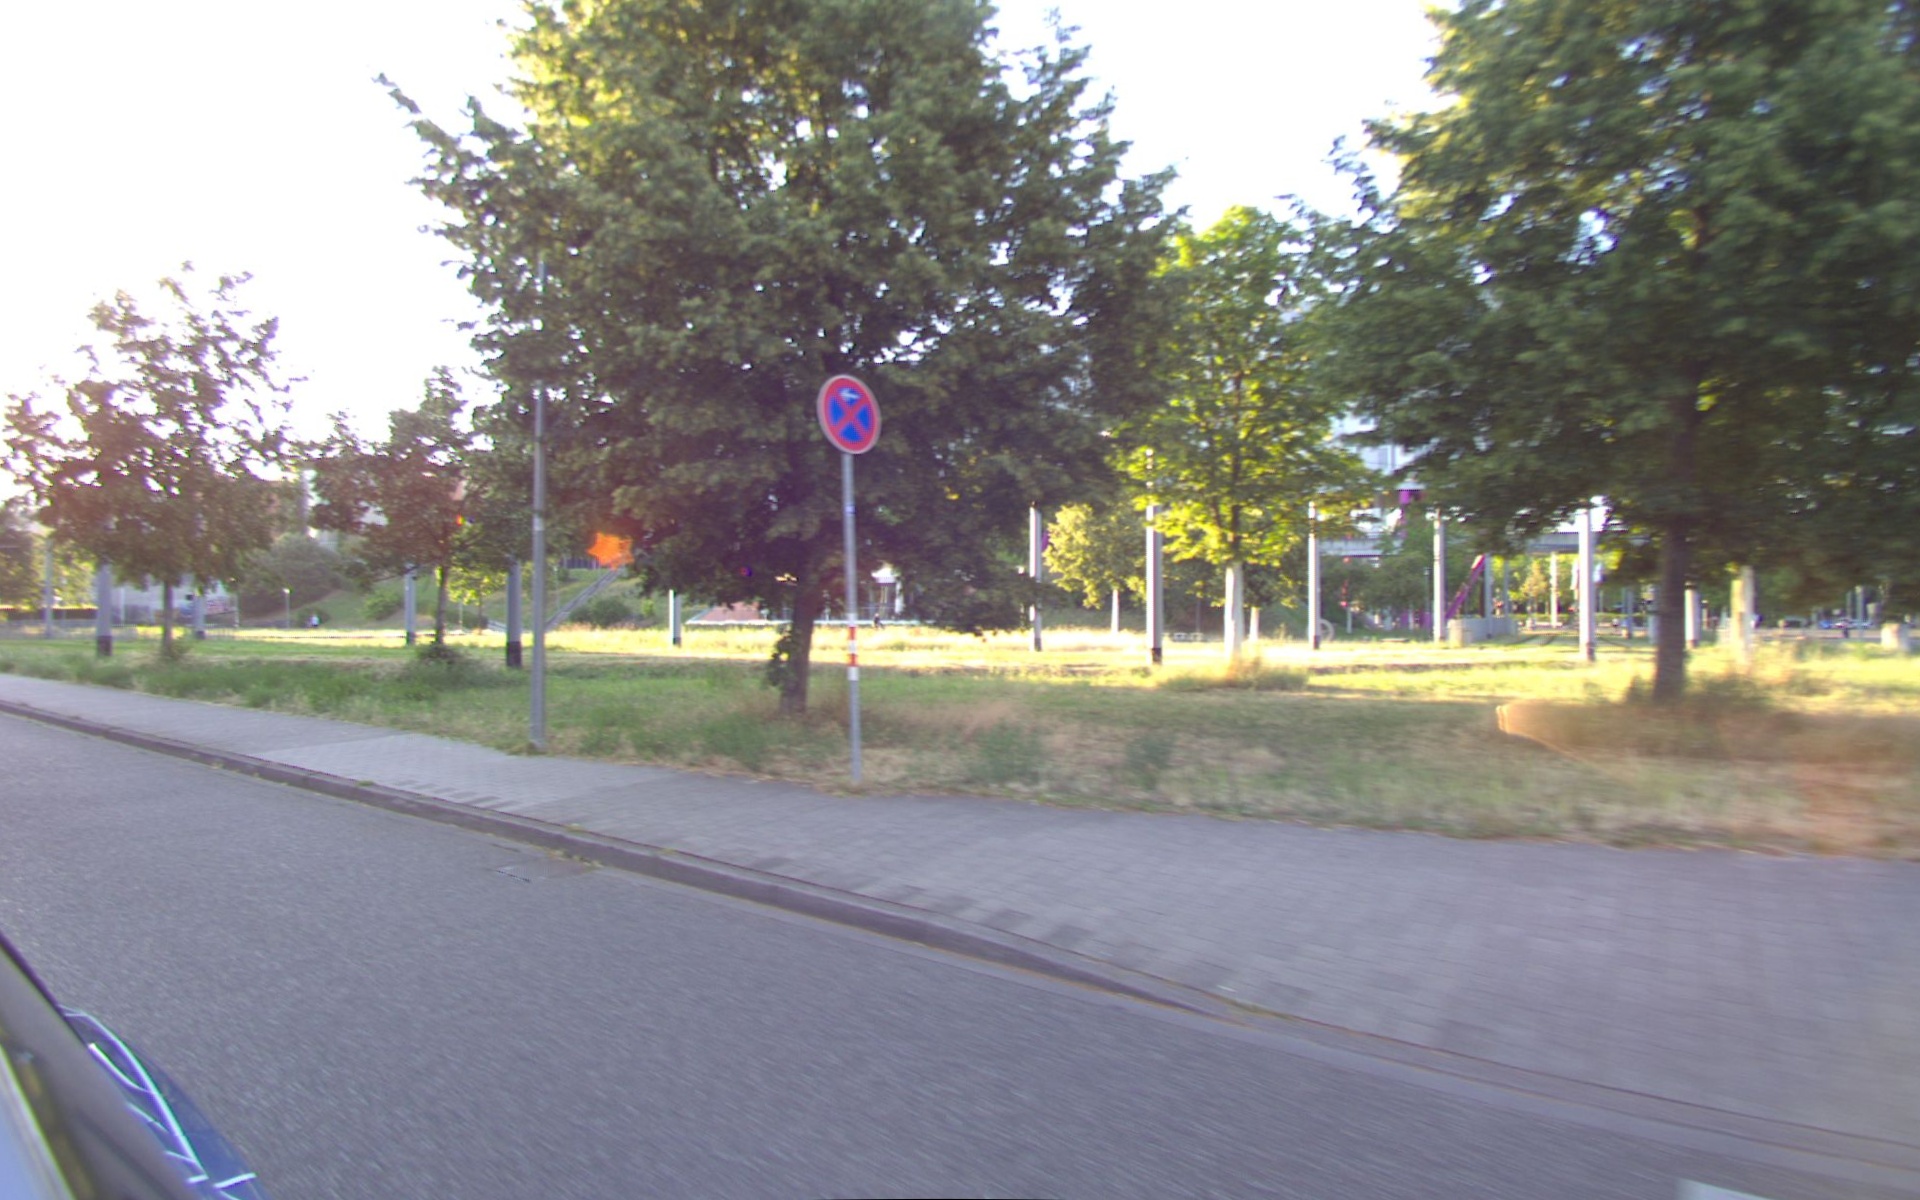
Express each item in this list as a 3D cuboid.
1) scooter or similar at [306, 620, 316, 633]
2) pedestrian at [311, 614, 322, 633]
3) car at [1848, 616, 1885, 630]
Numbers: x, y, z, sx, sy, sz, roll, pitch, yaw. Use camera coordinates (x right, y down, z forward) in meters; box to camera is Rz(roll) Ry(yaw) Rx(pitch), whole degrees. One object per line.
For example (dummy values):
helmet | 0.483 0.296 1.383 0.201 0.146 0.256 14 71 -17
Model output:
scooter or similar | -63.640 2.584 99.233 0.789 1.253 0.611 -1 0 36
pedestrian | -62.865 2.258 98.804 0.789 1.850 0.611 -1 0 36
car | 139.525 3.500 155.808 1.969 2.029 4.006 -2 1 -40
